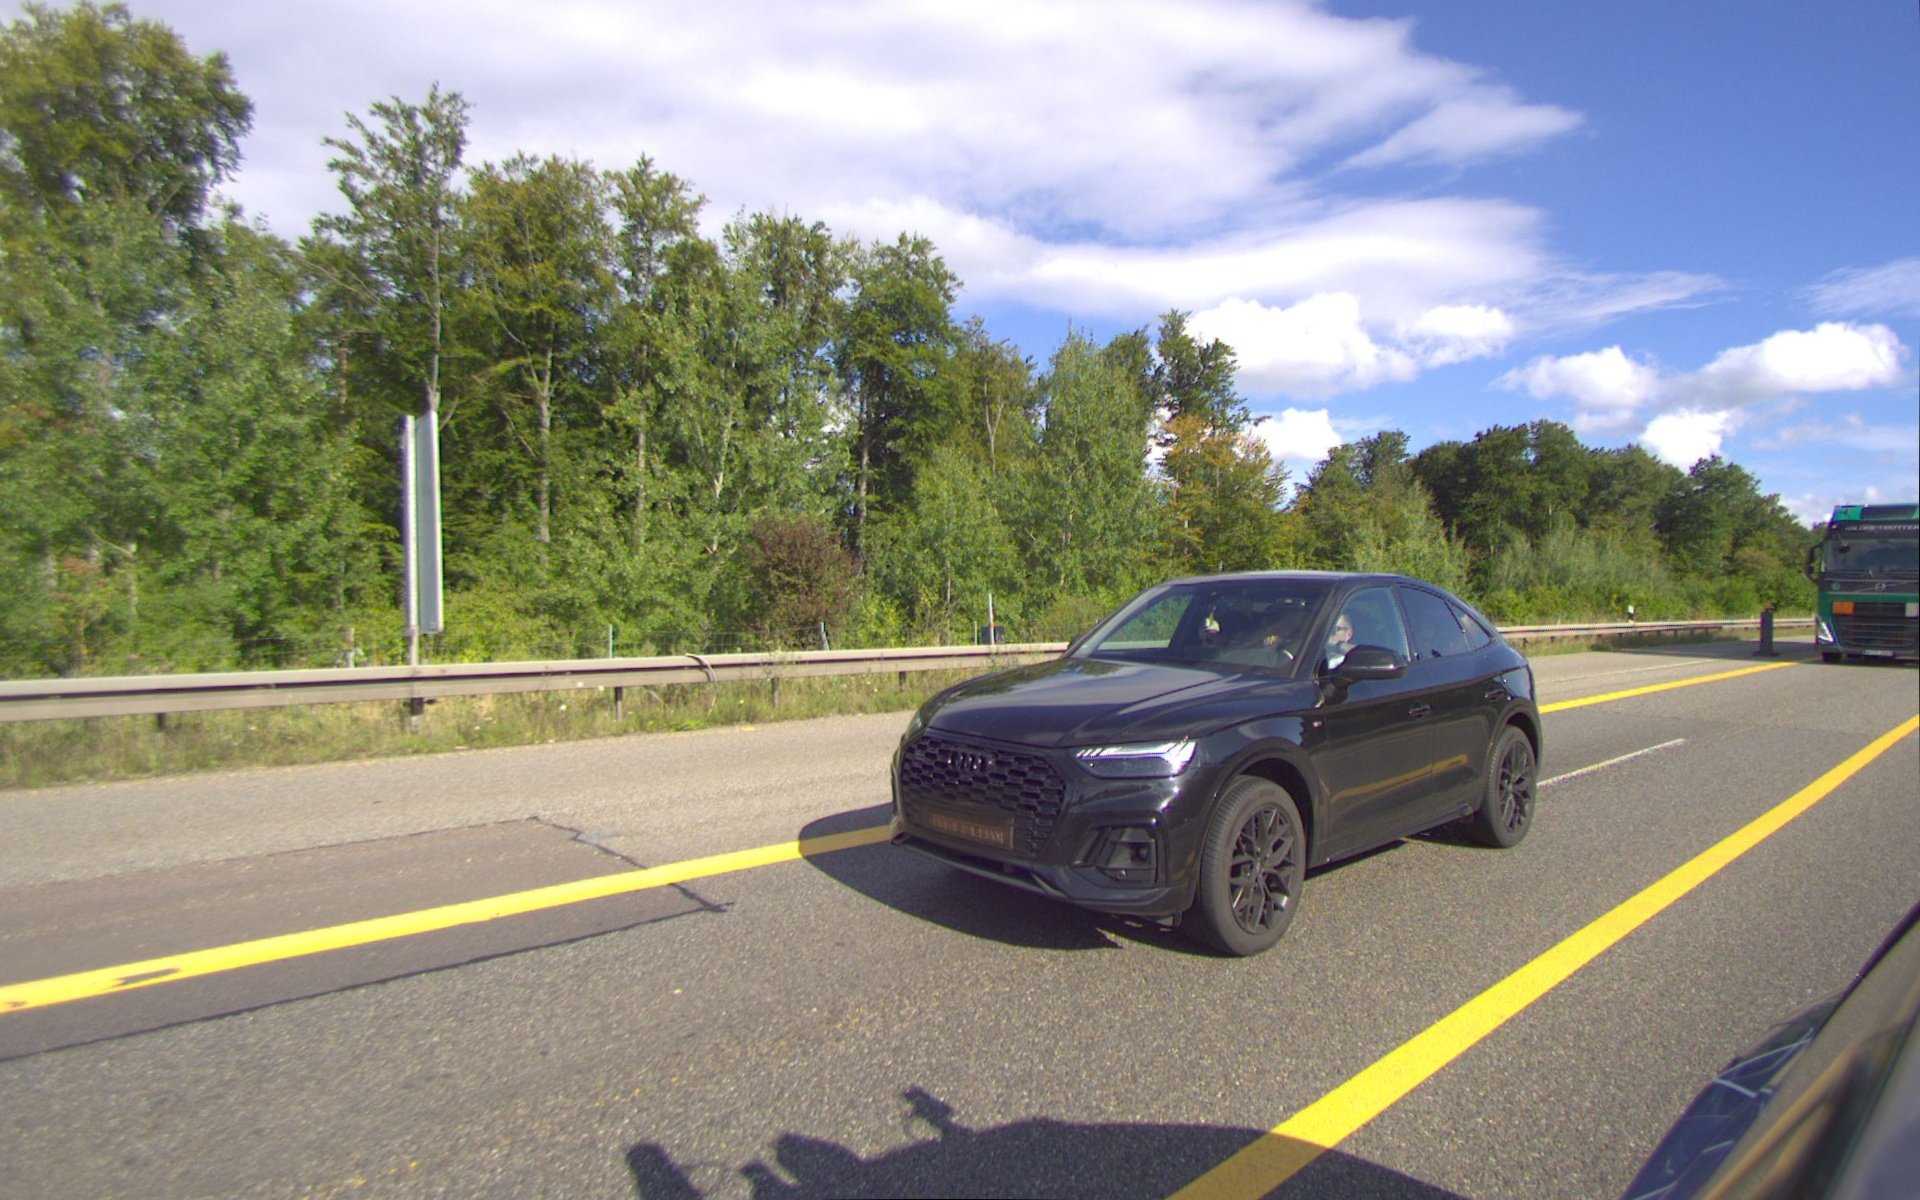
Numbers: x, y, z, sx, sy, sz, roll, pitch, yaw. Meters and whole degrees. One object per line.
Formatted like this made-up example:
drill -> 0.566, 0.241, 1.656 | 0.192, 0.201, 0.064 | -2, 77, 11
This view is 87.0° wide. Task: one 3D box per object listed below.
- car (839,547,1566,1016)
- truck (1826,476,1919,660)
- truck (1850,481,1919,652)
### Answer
car -> 1.583, 0.611, 5.571 | 4.219, 1.622, 1.781 | 0, 0, -41
truck -> 23.994, -0.753, 25.266 | 6.734, 4.151, 2.527 | 0, 0, -40
truck -> 28.851, -0.768, 29.344 | 13.956, 4.196, 2.469 | 1, 0, -40
